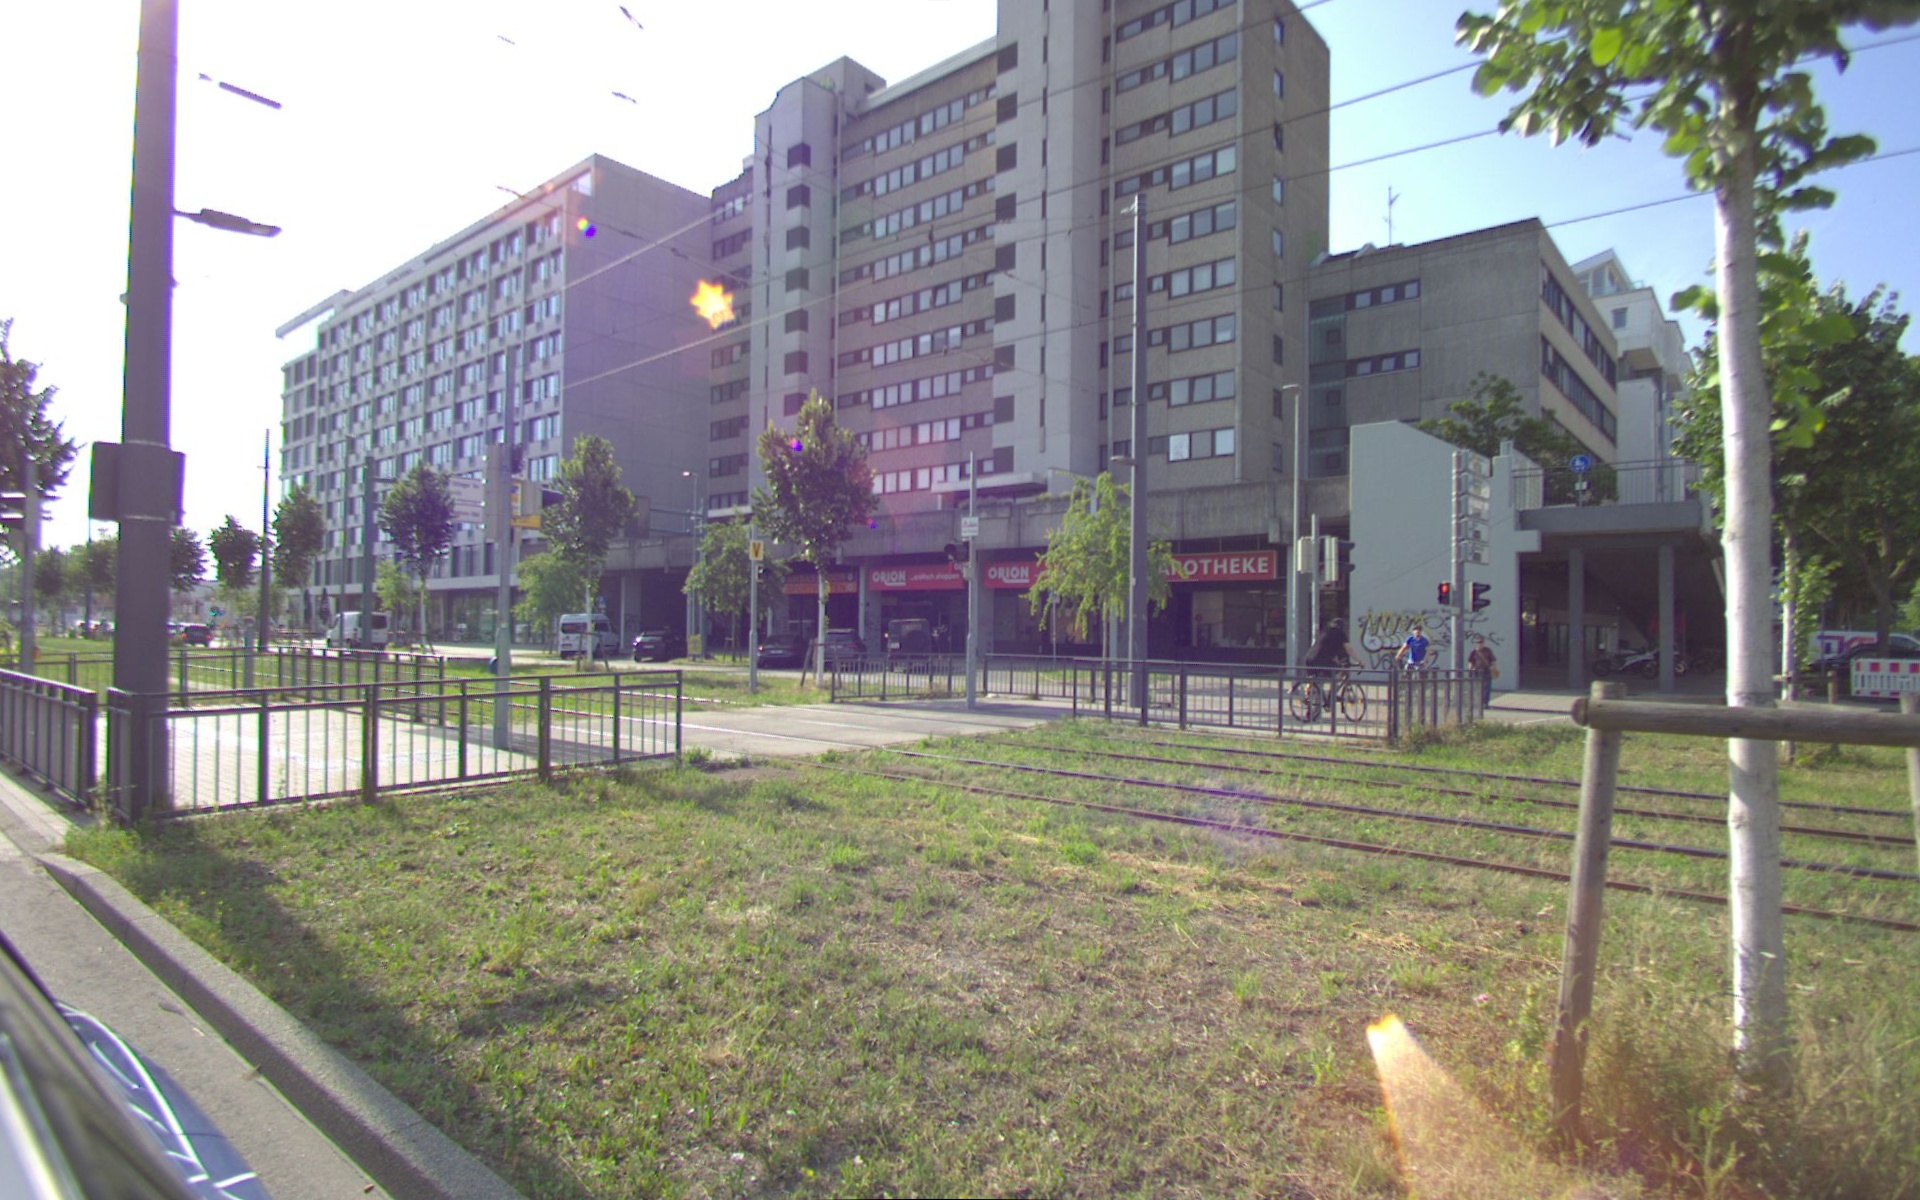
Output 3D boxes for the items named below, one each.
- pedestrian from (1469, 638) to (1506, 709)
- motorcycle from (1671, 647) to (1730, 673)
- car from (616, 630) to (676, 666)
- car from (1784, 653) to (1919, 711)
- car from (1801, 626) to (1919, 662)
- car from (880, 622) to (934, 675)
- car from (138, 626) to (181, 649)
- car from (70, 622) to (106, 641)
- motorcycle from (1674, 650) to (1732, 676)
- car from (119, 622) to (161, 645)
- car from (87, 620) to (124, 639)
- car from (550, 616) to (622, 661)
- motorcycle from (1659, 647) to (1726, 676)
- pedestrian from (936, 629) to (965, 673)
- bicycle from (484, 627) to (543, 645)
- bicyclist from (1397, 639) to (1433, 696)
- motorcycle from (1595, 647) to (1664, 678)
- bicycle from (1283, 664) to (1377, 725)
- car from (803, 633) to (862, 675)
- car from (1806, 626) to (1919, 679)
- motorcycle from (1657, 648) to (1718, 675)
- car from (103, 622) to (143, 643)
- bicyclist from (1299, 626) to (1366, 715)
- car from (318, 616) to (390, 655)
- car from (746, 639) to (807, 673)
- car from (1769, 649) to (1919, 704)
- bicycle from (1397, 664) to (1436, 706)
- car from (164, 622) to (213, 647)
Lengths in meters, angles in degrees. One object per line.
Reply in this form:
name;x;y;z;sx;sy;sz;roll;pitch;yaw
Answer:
pedestrian;12.965;1.782;24.878;0.645;1.703;0.651;-1;-3;43
motorcycle;30.813;2.504;42.144;1.945;1.025;0.549;-1;-3;41
car;-15.510;2.338;50.208;2.070;1.594;4.006;-2;-1;-6
car;29.835;2.657;33.091;4.374;1.640;1.891;0;0;37
car;48.851;2.359;55.043;4.767;1.833;1.973;-1;-2;41
car;-2.057;1.896;40.060;1.853;1.983;4.110;0;-2;1
car;-54.092;2.528;68.394;3.641;1.498;1.722;-1;-3;43
car;-74.404;2.662;86.315;3.998;1.536;1.764;-1;-2;41
motorcycle;31.574;2.674;43.033;1.945;1.025;0.549;-1;-3;41
car;-58.866;2.399;72.637;4.000;1.586;1.788;-1;-3;43
car;-68.542;2.394;81.177;4.000;1.486;1.788;-1;-2;43
car;-20.203;2.068;54.930;1.858;2.326;5.407;0;-2;0
motorcycle;26.922;2.256;37.209;1.945;1.025;0.488;-1;-3;41
pedestrian;-0.378;2.005;39.708;1.102;1.709;0.743;0;-2;-2
bicycle;-33.857;2.731;76.761;3.937;1.377;1.128;2;-2;-40
bicyclist;11.920;1.742;26.491;0.684;1.451;1.012;-1;-2;35
motorcycle;23.289;2.151;35.247;1.945;1.025;0.488;-1;-3;41
bicycle;6.077;1.556;16.603;1.585;0.942;0.559;4;-5;-29
car;-5.198;2.171;41.682;1.853;1.618;4.110;0;-2;1
car;36.769;2.069;40.186;4.830;1.983;1.973;0;-2;41
motorcycle;29.095;2.452;40.500;1.945;1.025;0.488;-1;-3;41
car;-63.035;2.447;76.184;4.000;1.586;1.788;-1;-3;43
bicyclist;6.126;1.169;16.655;0.957;1.406;0.548;4;-5;-29
car;-36.418;2.102;60.734;5.330;2.256;2.025;-1;-2;40
car;-7.929;2.410;43.988;1.853;1.253;4.110;-1;0;1
car;31.004;2.637;35.222;4.374;1.640;1.891;0;0;37
bicycle;11.957;2.199;26.479;0.683;0.998;1.648;-1;-2;33
car;-48.390;2.161;63.425;4.000;1.492;1.788;-1;-2;43
